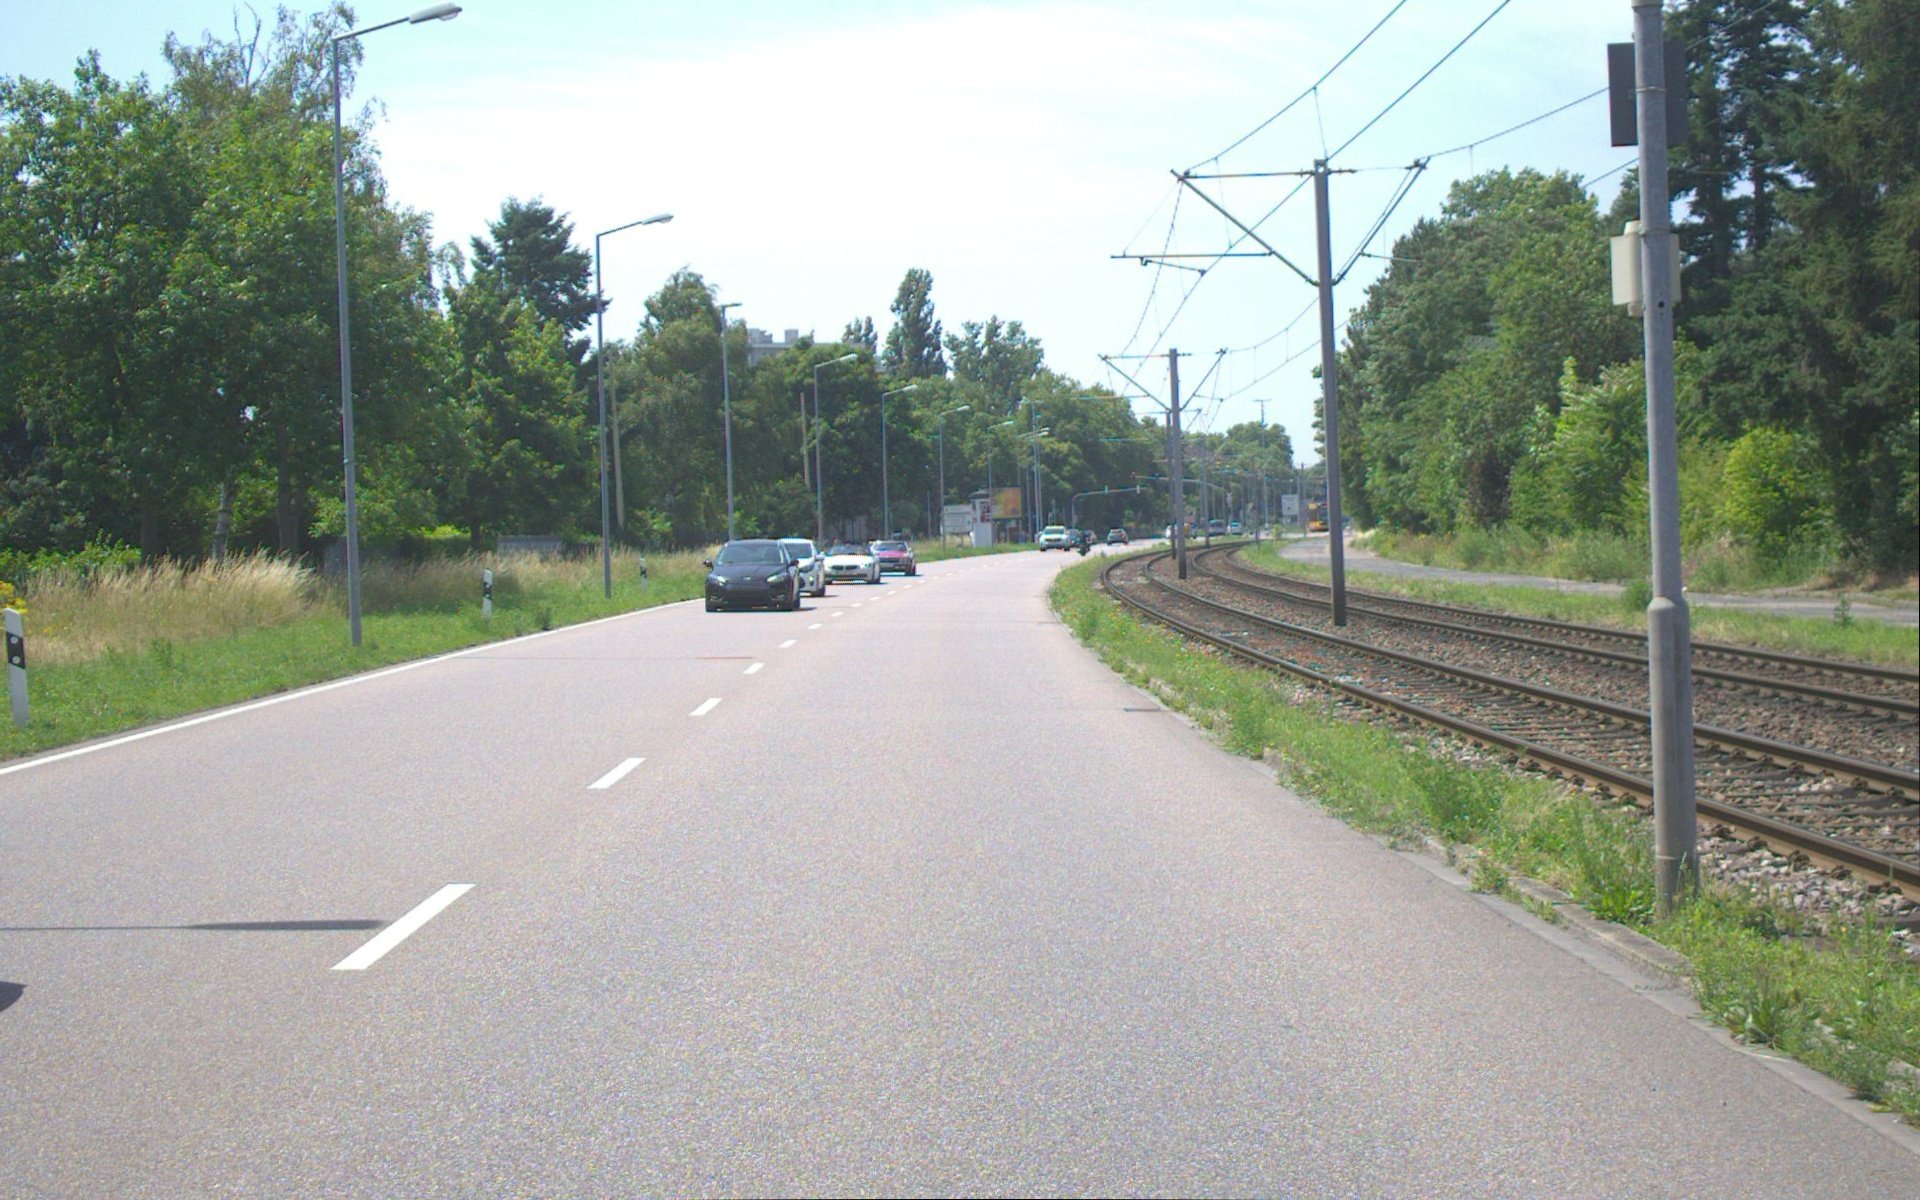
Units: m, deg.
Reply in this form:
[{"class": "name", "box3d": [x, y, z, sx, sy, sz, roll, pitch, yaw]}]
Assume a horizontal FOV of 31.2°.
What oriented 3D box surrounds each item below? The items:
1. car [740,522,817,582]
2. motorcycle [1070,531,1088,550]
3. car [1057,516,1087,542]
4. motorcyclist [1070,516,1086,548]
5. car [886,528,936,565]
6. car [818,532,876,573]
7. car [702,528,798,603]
[{"class": "car", "box3d": [-4.661, -1.241, 88.635, 1.747, 1.498, 3.707, -1, 1, 0]}, {"class": "motorcycle", "box3d": [7.158, -3.570, 207.357, 0.970, 1.113, 2.732, -1, 1, 4]}, {"class": "car", "box3d": [7.829, -4.946, 239.951, 1.936, 1.790, 4.711, -1, 1, 3]}, {"class": "motorcyclist", "box3d": [7.126, -4.104, 207.137, 0.891, 1.898, 1.015, -1, 1, 4]}, {"class": "car", "box3d": [-1.802, -1.986, 127.444, 1.749, 1.296, 4.253, -1, 1, 0]}, {"class": "car", "box3d": [-3.555, -1.505, 108.657, 1.682, 1.245, 3.909, -1, 1, 0]}, {"class": "car", "box3d": [-4.338, -0.743, 71.549, 1.700, 1.486, 4.440, -1, 1, 0]}]
